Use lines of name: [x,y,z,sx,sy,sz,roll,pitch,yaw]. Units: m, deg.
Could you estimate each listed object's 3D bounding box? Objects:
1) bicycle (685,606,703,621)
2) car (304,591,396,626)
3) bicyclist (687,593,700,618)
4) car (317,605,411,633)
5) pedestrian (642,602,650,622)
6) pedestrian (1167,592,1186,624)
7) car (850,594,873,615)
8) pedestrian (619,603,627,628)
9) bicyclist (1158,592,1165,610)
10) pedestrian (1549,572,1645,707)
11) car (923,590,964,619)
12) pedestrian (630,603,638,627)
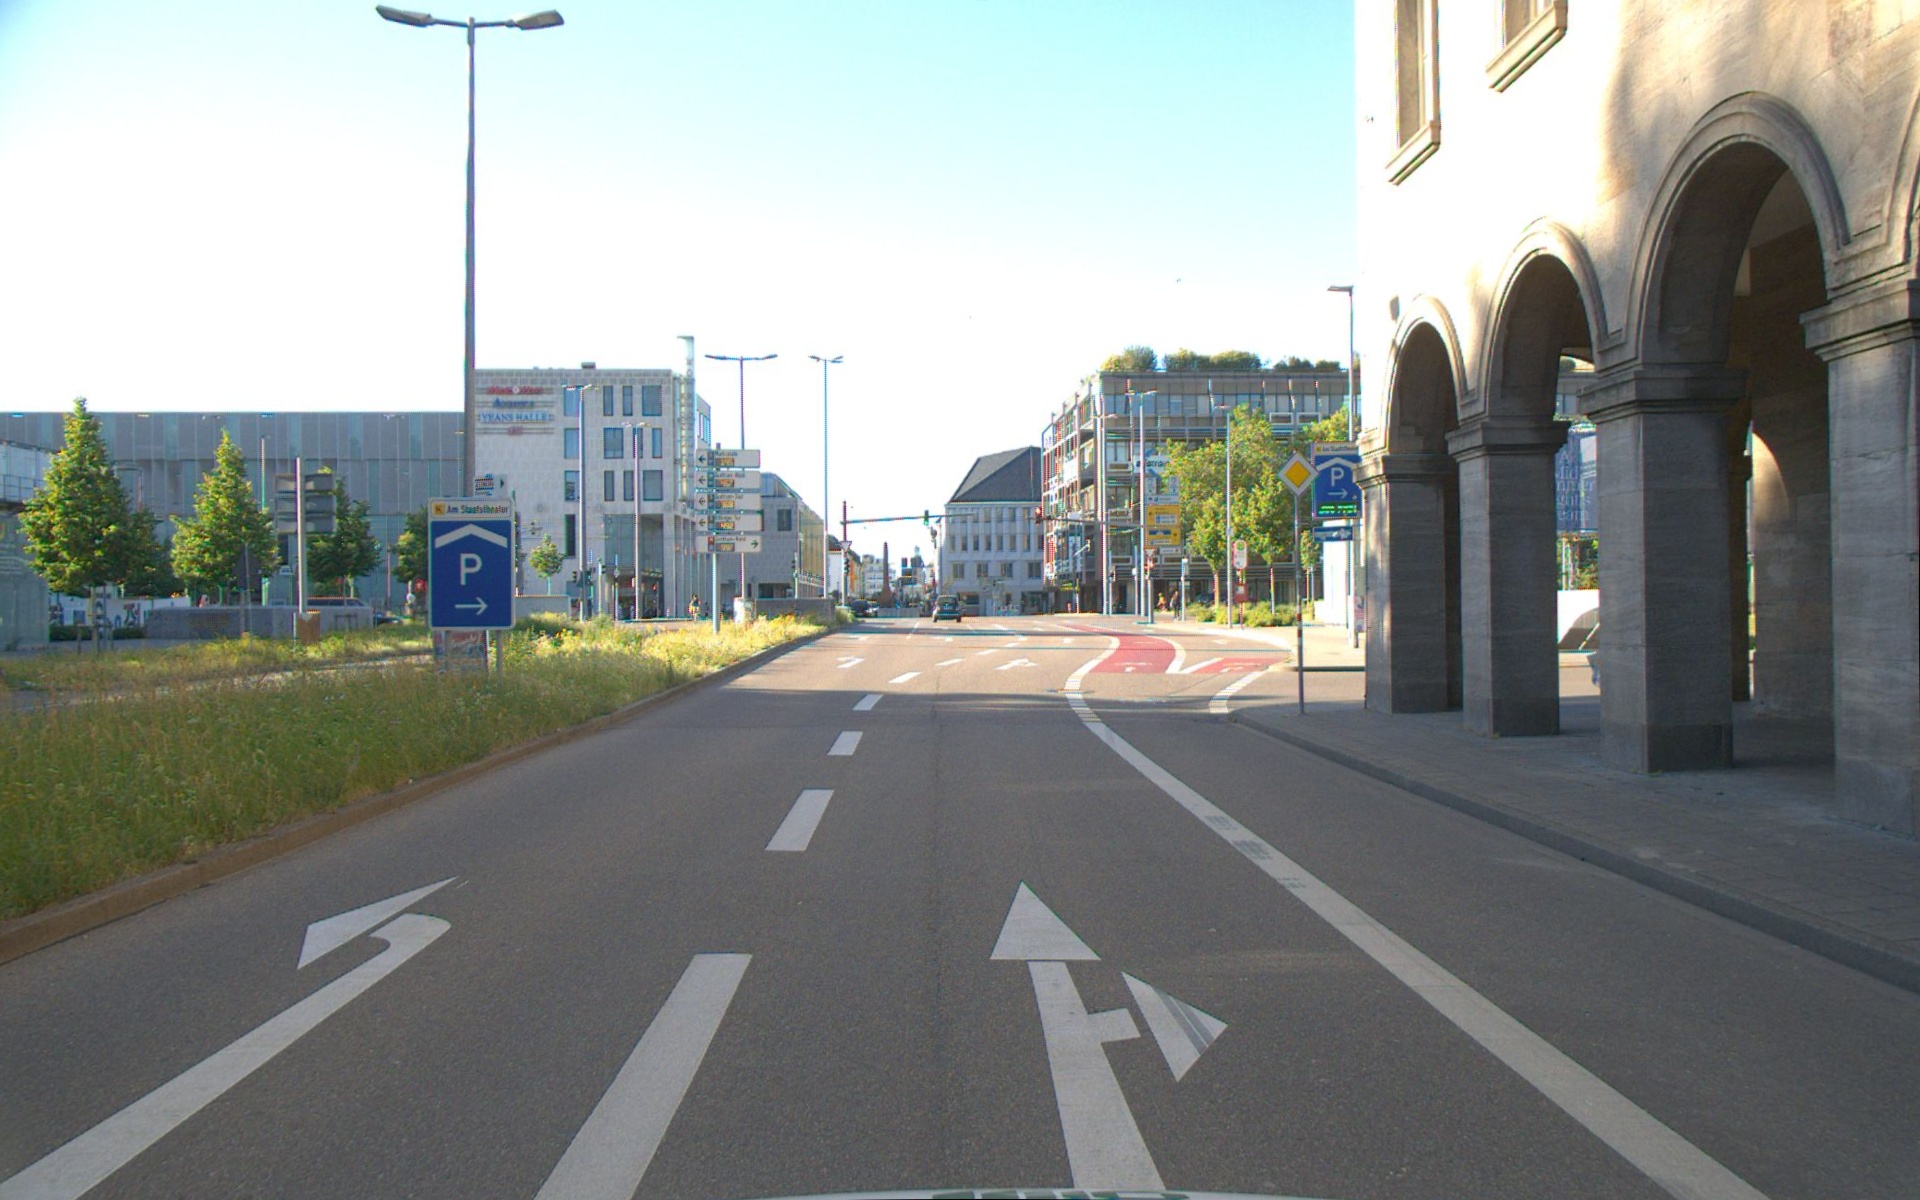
bicycle: [-15.861,0.811,98.714,0.599,0.877,1.952,-1,0,5]
car: [-34.771,0.479,94.380,4.553,1.842,1.868,-1,-2,-9]
bicyclist: [-15.869,0.315,98.630,0.594,1.515,0.681,-1,0,5]
car: [-32.545,1.036,90.426,4.553,1.399,1.868,-1,-2,-9]
pedestrian: [-26.144,1.017,137.704,0.610,1.636,0.653,-1,0,-1]
pedestrian: [12.478,0.445,95.167,0.804,1.779,1.042,-2,-1,21]
car: [-9.013,0.437,151.696,1.953,1.773,4.646,0,1,-1]
pedestrian: [-28.248,1.279,138.759,0.611,2.049,0.515,-1,0,-9]
bicyclist: [15.458,0.048,126.790,0.497,1.362,0.453,-1,0,2]
pedestrian: [7.802,0.467,20.286,0.760,1.597,0.952,-1,0,-3]
car: [-0.957,0.237,95.193,1.744,1.591,3.780,-1,0,-10]
pedestrian: [-27.462,1.243,139.301,0.611,2.049,0.515,-1,0,-9]
